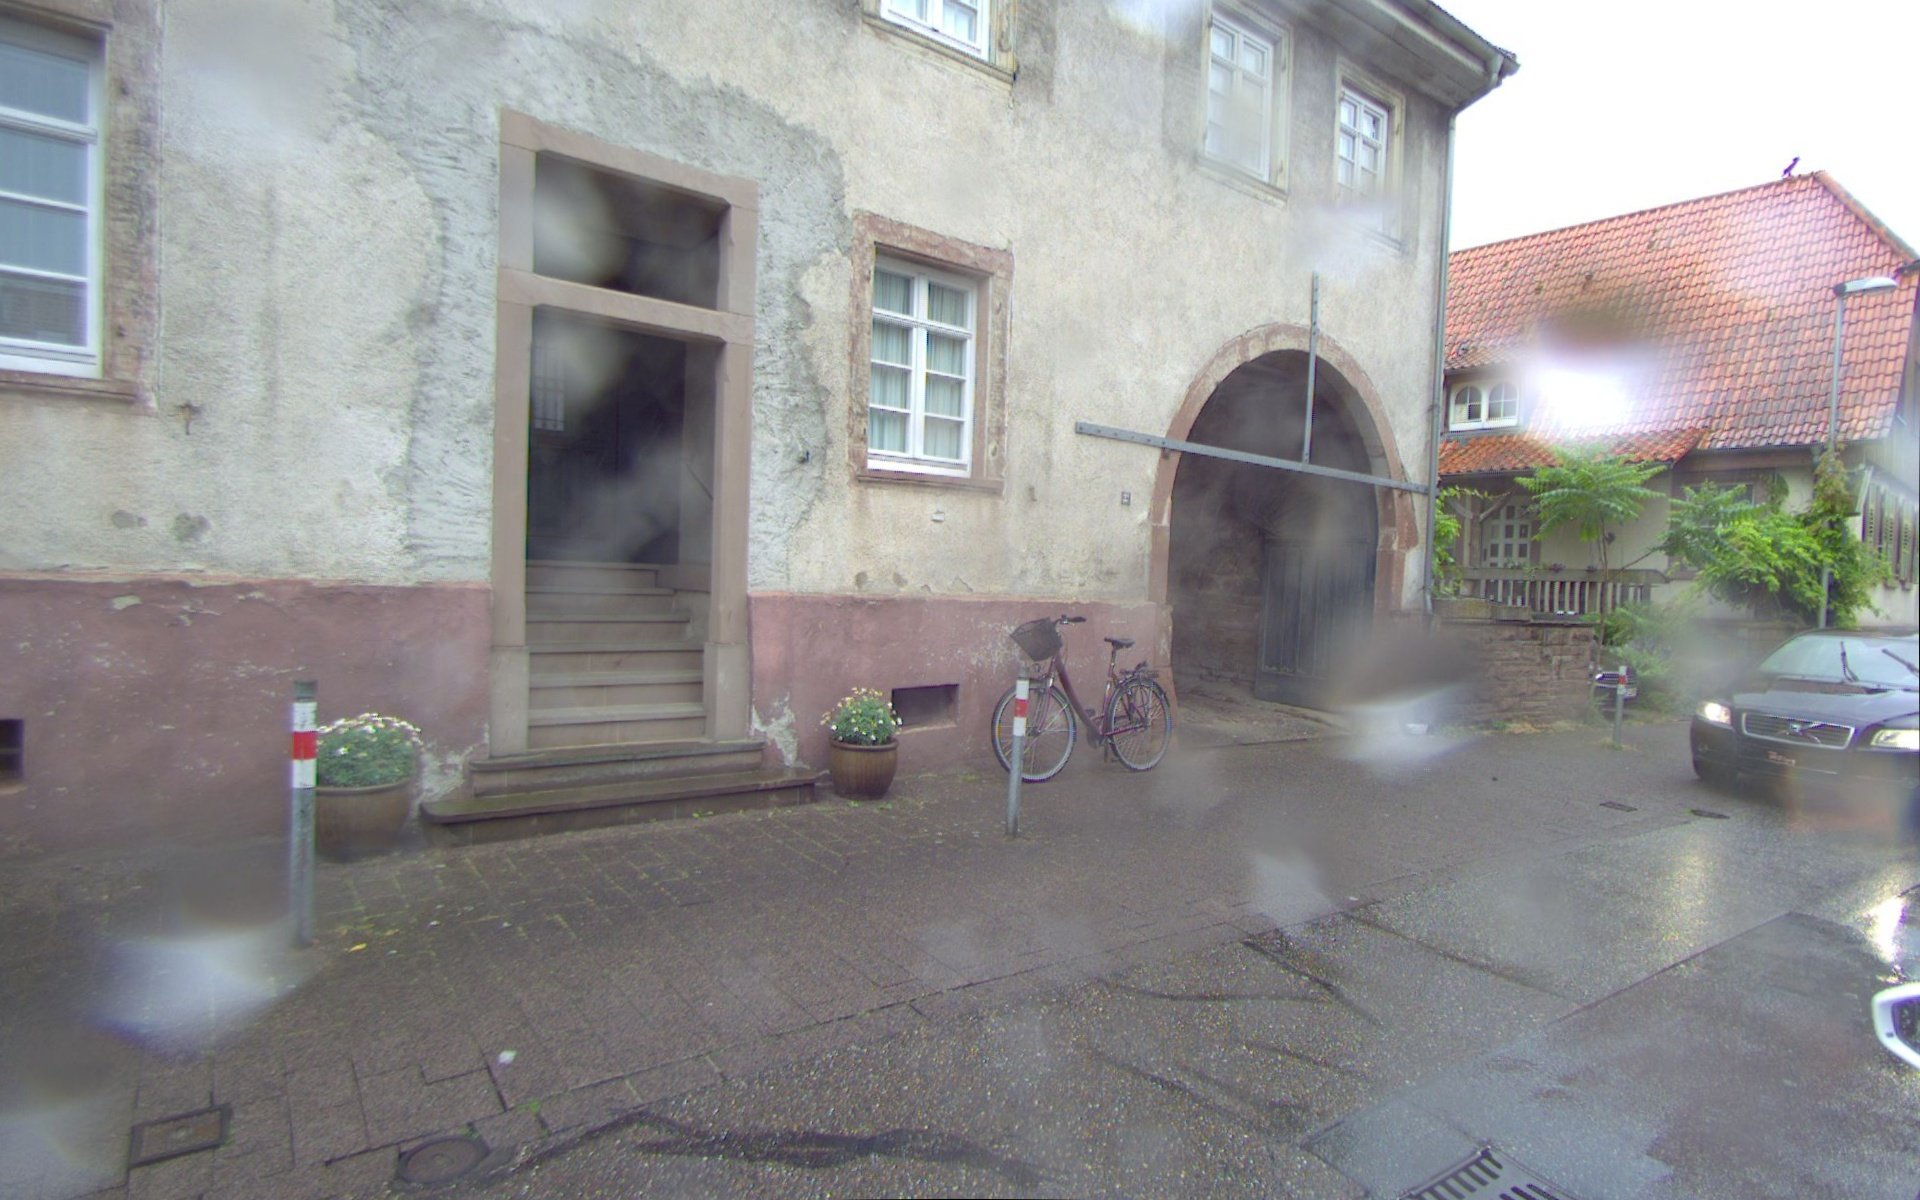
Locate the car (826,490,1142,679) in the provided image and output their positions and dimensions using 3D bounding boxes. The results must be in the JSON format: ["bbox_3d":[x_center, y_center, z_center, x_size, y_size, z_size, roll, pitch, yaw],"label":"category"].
[{"bbox_3d":[0.146,-0.309,13.526,1.869,1.957,4.194,6,3,-37],"label":"car"}]

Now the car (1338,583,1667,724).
[{"bbox_3d":[7.974,0.699,15.162,1.715,1.444,3.967,2,5,-30],"label":"car"}]

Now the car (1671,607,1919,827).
[{"bbox_3d":[8.238,0.916,9.010,4.299,1.529,1.684,2,0,-35],"label":"car"}]

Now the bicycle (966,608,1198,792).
[{"bbox_3d":[0.946,0.684,7.452,1.858,1.194,0.478,1,4,-38],"label":"bicycle"}]
